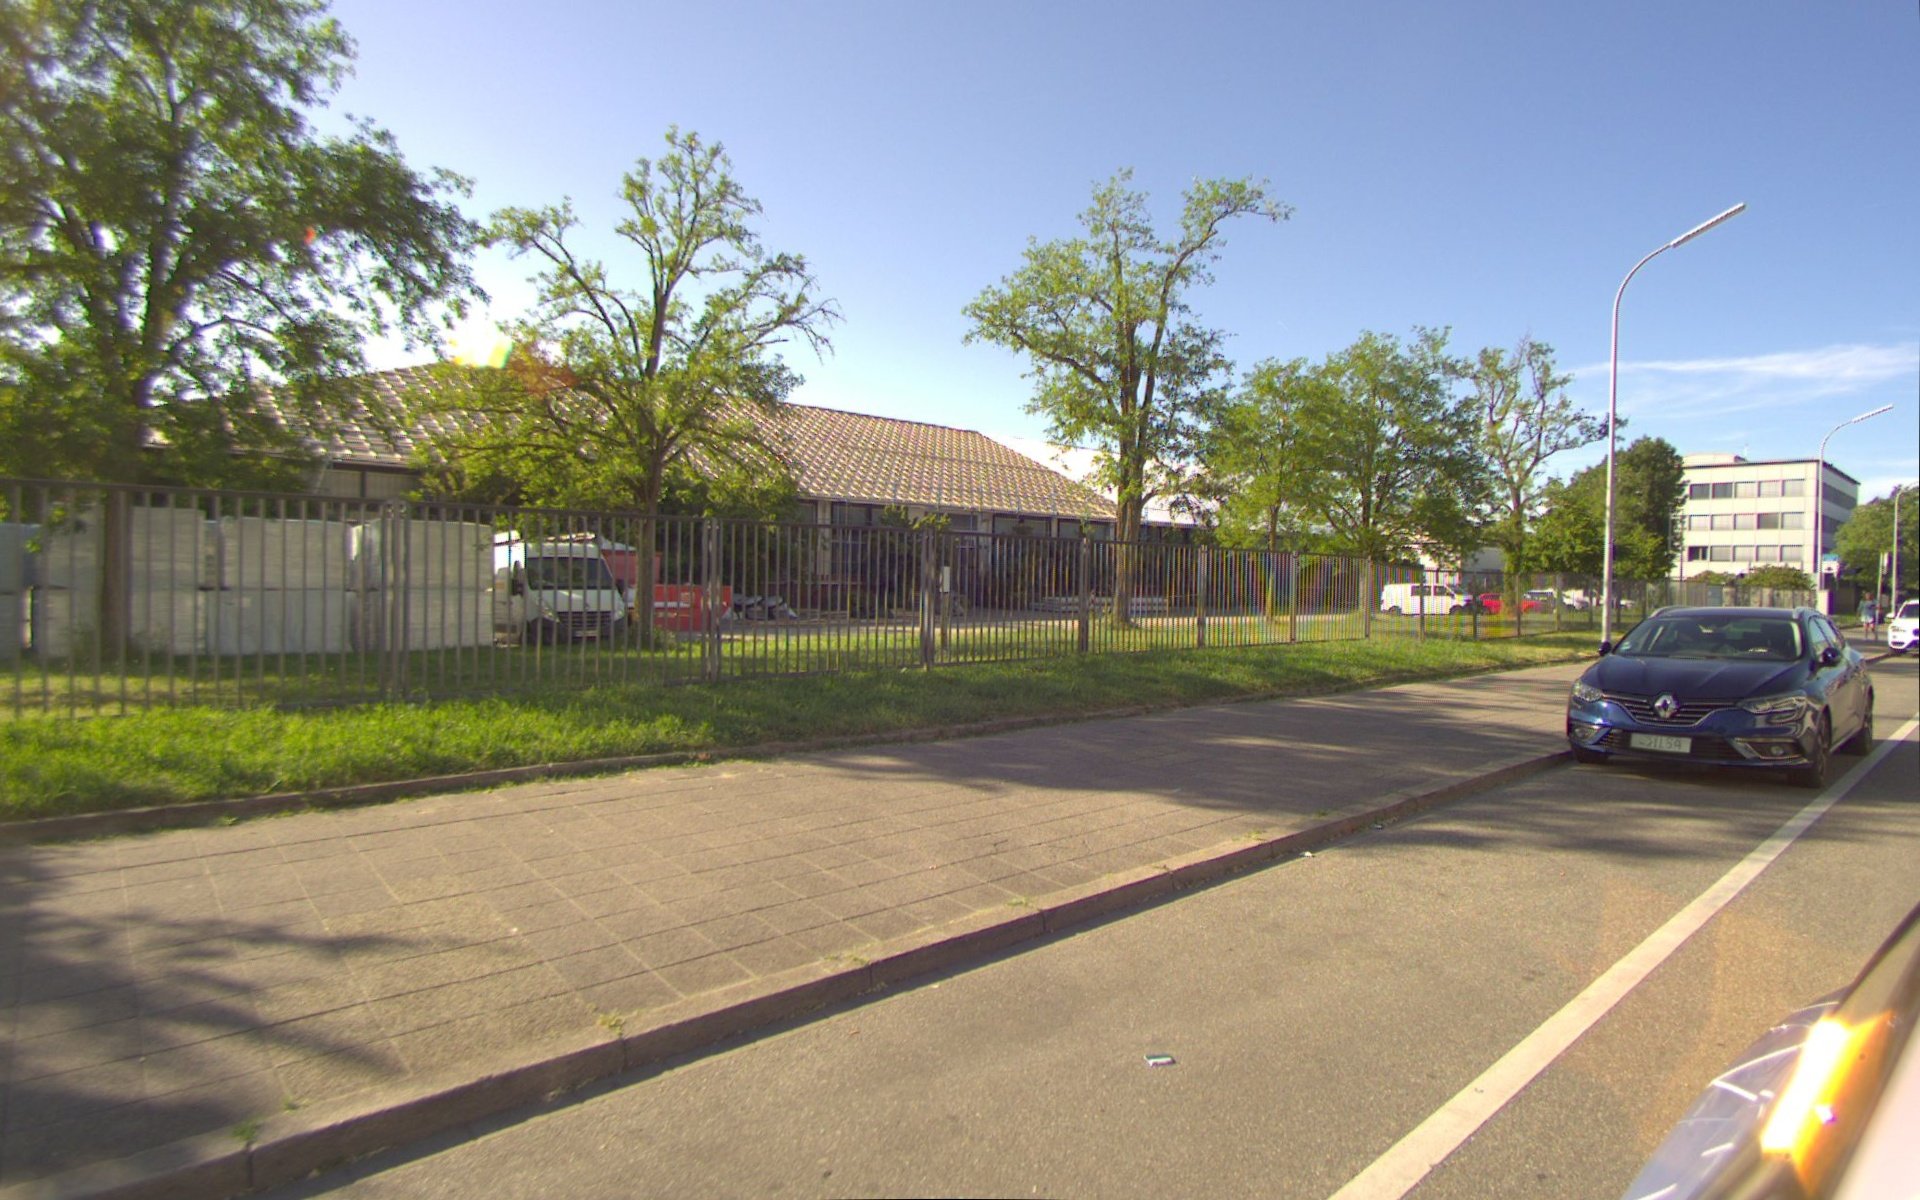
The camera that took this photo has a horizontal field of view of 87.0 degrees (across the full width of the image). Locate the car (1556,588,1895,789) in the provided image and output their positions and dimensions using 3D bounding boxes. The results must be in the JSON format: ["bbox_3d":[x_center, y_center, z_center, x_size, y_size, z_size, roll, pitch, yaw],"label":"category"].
[{"bbox_3d":[7.319,0.651,9.516,4.142,1.471,1.820,0,0,-42],"label":"car"}]

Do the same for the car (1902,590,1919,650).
[{"bbox_3d":[27.730,0.534,28.289,4.191,1.608,1.814,0,0,-44],"label":"car"}]

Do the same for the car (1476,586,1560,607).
[{"bbox_3d":[33.745,-0.196,61.280,1.798,1.268,4.145,0,0,-44],"label":"car"}]

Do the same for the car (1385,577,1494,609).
[{"bbox_3d":[26.102,-0.373,55.229,2.061,1.665,4.969,0,0,-44],"label":"car"}]

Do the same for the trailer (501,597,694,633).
[{"bbox_3d":[-10.541,0.415,29.556,5.010,0.931,1.905,0,1,-34],"label":"trailer"}]

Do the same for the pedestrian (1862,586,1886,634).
[{"bbox_3d":[31.467,0.335,34.842,0.671,1.632,0.540,-1,0,-41],"label":"pedestrian"}]

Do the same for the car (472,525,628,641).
[{"bbox_3d":[-9.094,-0.373,22.139,1.962,2.230,5.302,2,0,-35],"label":"car"}]
